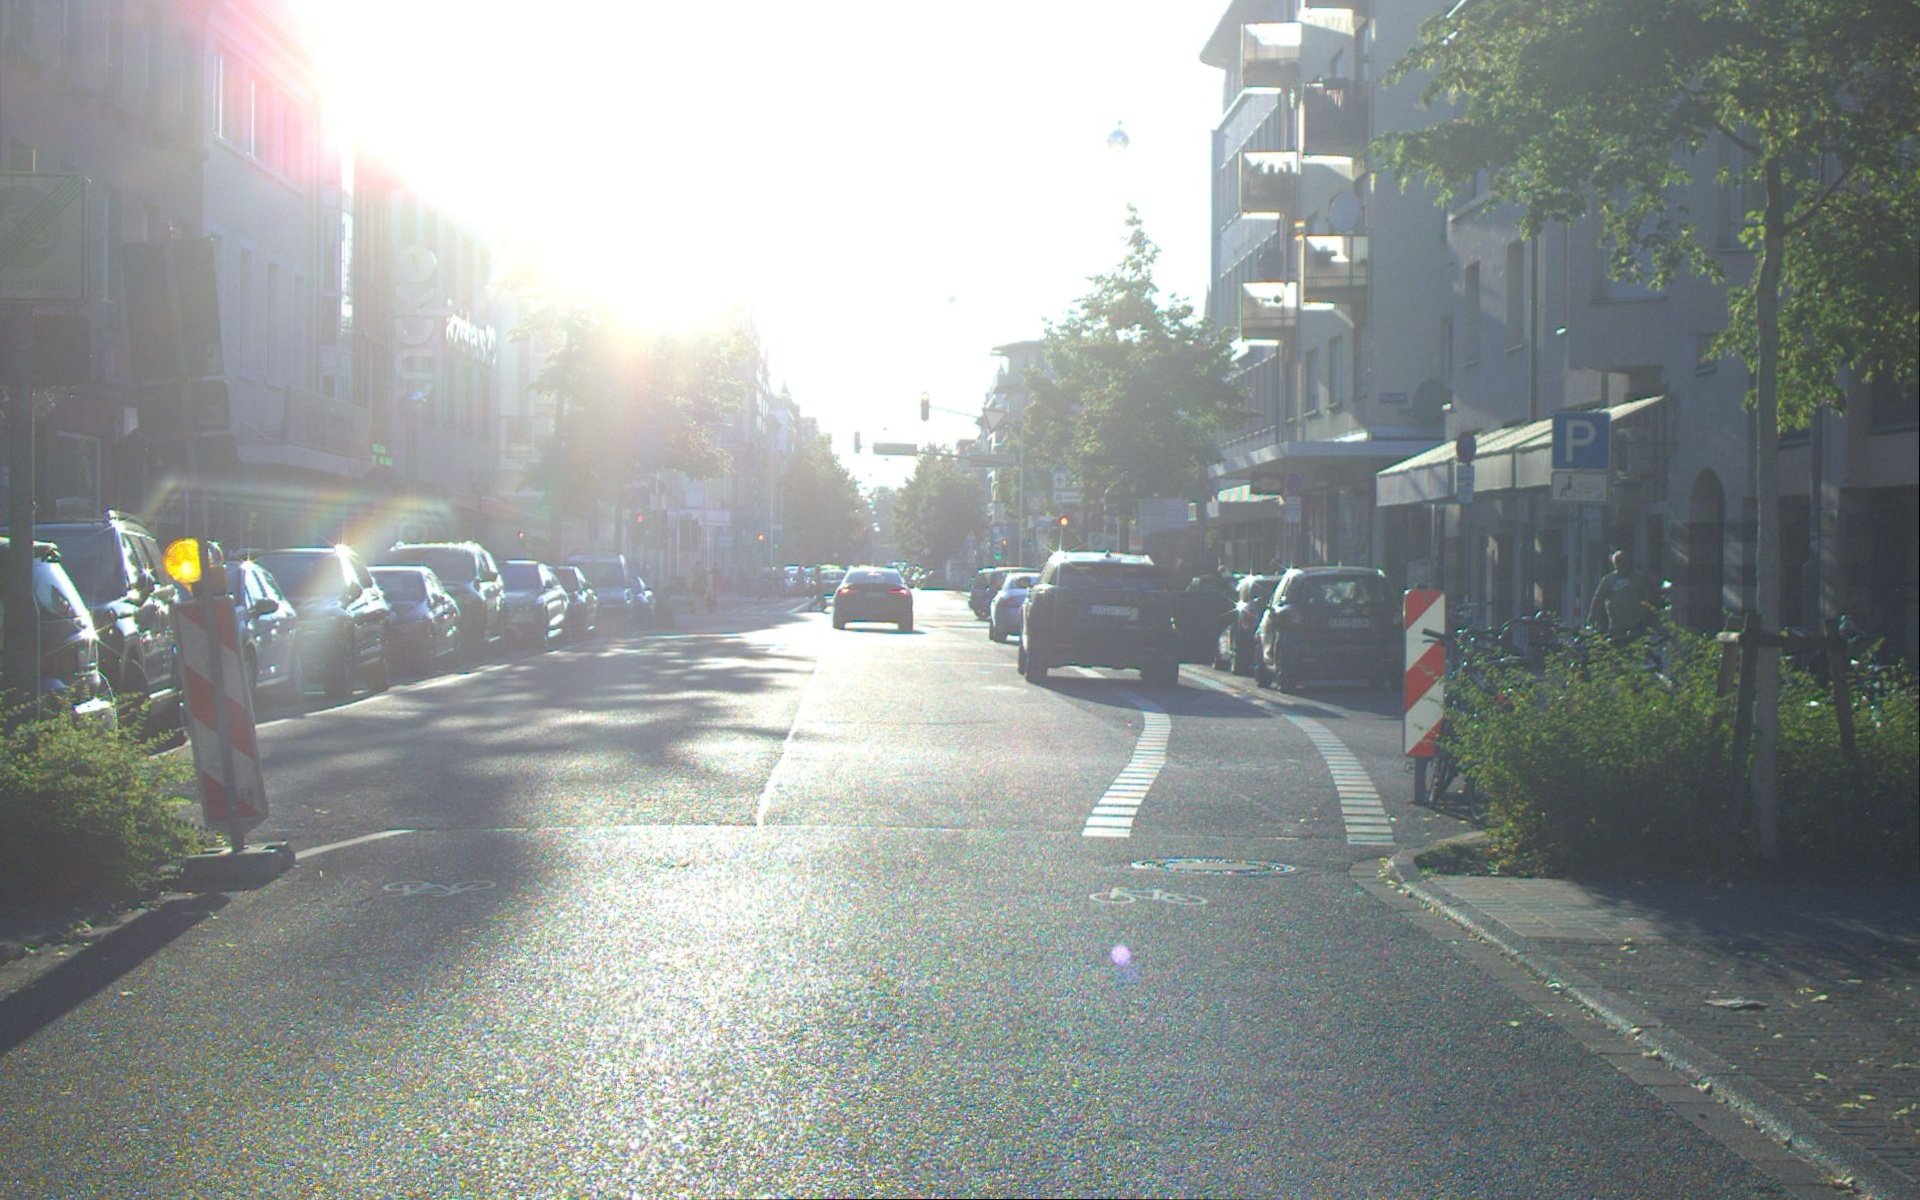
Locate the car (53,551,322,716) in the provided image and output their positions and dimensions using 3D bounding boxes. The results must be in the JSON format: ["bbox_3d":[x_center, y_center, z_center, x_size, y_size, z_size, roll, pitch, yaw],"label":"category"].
[{"bbox_3d":[-7.551,0.287,33.950,1.774,1.510,3.950,1,1,0],"label":"car"}]

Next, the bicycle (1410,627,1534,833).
[{"bbox_3d":[2.900,0.719,19.565,0.382,1.096,1.523,0,1,-4],"label":"bicycle"}]

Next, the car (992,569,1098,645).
[{"bbox_3d":[1.683,0.119,69.315,1.922,1.410,4.548,3,0,-1],"label":"car"}]

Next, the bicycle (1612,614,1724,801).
[{"bbox_3d":[4.405,0.649,21.455,0.382,1.096,1.565,0,1,0],"label":"bicycle"}]

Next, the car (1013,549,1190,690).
[{"bbox_3d":[1.779,0.217,44.584,1.995,1.649,4.674,2,1,-1],"label":"car"}]

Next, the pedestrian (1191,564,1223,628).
[{"bbox_3d":[6.019,-0.101,83.753,0.688,1.553,0.863,0,0,0],"label":"pedestrian"}]

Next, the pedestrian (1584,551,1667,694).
[{"bbox_3d":[7.787,0.265,40.261,0.810,1.641,0.606,-1,0,-1],"label":"pedestrian"}]

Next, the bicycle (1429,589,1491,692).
[{"bbox_3d":[6.218,0.494,42.792,0.397,1.230,1.826,0,1,-3],"label":"bicycle"}]

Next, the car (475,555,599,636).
[{"bbox_3d":[-8.092,-0.097,66.114,1.827,1.434,4.553,-2,0,-1],"label":"car"}]

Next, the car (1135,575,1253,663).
[{"bbox_3d":[3.919,0.291,58.091,1.703,1.431,3.932,0,0,0],"label":"car"}]

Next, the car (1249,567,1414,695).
[{"bbox_3d":[4.665,0.366,43.448,1.632,1.548,2.695,0,1,-3],"label":"car"}]

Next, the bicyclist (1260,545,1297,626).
[{"bbox_3d":[6.723,-0.307,72.542,0.650,1.696,1.095,0,0,-2],"label":"bicyclist"}]

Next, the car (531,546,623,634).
[{"bbox_3d":[-8.346,-0.229,75.152,1.832,1.848,4.124,1,0,-4],"label":"car"}]

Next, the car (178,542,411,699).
[{"bbox_3d":[-7.347,0.195,38.308,1.774,1.627,4.238,1,1,0],"label":"car"}]

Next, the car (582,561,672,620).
[{"bbox_3d":[-7.873,-0.243,81.533,1.833,1.323,4.124,1,1,-2],"label":"car"}]

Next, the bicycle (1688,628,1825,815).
[{"bbox_3d":[4.929,0.733,21.332,0.382,1.096,1.523,1,0,-4],"label":"bicycle"}]

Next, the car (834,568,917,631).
[{"bbox_3d":[-1.988,-0.034,81.626,1.883,1.410,4.325,1,0,-1],"label":"car"}]

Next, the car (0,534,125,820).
[{"bbox_3d":[-6.197,0.433,19.233,2.693,1.515,1.572,-2,2,-4],"label":"car"}]

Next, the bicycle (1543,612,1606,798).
[{"bbox_3d":[3.879,0.641,21.674,0.371,1.104,1.522,0,1,11],"label":"bicycle"}]

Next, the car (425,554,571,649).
[{"bbox_3d":[-8.026,-0.003,60.077,1.827,1.551,5.136,-1,1,0],"label":"car"}]

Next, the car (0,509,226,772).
[{"bbox_3d":[-6.599,0.263,25.015,1.904,1.722,4.703,-1,0,-5],"label":"car"}]

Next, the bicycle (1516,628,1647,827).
[{"bbox_3d":[3.559,0.710,19.772,0.382,1.096,1.523,0,0,-4],"label":"bicycle"}]

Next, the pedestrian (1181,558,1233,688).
[{"bbox_3d":[3.167,0.291,44.113,0.441,1.659,0.565,-1,1,-26],"label":"pedestrian"}]

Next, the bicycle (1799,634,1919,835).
[{"bbox_3d":[5.368,0.763,20.058,0.381,1.096,1.523,0,1,-8],"label":"bicycle"}]

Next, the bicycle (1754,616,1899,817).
[{"bbox_3d":[5.380,0.703,21.405,0.382,1.185,1.523,1,0,-5],"label":"bicycle"}]

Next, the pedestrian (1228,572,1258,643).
[{"bbox_3d":[6.895,0.181,83.769,0.688,1.716,0.716,-1,0,5],"label":"pedestrian"}]

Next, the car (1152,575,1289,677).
[{"bbox_3d":[3.781,0.356,50.437,1.633,1.419,3.758,0,1,-1],"label":"car"}]

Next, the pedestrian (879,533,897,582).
[{"bbox_3d":[-2.515,-1.494,120.672,0.494,1.709,0.462,0,1,-20],"label":"pedestrian"}]

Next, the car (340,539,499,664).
[{"bbox_3d":[-8.327,-0.015,53.340,1.827,1.804,5.349,-1,1,-3],"label":"car"}]

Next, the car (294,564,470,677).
[{"bbox_3d":[-7.850,0.249,47.033,1.713,1.435,4.310,-1,1,-1],"label":"car"}]

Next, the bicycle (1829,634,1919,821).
[{"bbox_3d":[5.813,0.768,21.266,0.382,1.096,1.523,0,0,-5],"label":"bicycle"}]
